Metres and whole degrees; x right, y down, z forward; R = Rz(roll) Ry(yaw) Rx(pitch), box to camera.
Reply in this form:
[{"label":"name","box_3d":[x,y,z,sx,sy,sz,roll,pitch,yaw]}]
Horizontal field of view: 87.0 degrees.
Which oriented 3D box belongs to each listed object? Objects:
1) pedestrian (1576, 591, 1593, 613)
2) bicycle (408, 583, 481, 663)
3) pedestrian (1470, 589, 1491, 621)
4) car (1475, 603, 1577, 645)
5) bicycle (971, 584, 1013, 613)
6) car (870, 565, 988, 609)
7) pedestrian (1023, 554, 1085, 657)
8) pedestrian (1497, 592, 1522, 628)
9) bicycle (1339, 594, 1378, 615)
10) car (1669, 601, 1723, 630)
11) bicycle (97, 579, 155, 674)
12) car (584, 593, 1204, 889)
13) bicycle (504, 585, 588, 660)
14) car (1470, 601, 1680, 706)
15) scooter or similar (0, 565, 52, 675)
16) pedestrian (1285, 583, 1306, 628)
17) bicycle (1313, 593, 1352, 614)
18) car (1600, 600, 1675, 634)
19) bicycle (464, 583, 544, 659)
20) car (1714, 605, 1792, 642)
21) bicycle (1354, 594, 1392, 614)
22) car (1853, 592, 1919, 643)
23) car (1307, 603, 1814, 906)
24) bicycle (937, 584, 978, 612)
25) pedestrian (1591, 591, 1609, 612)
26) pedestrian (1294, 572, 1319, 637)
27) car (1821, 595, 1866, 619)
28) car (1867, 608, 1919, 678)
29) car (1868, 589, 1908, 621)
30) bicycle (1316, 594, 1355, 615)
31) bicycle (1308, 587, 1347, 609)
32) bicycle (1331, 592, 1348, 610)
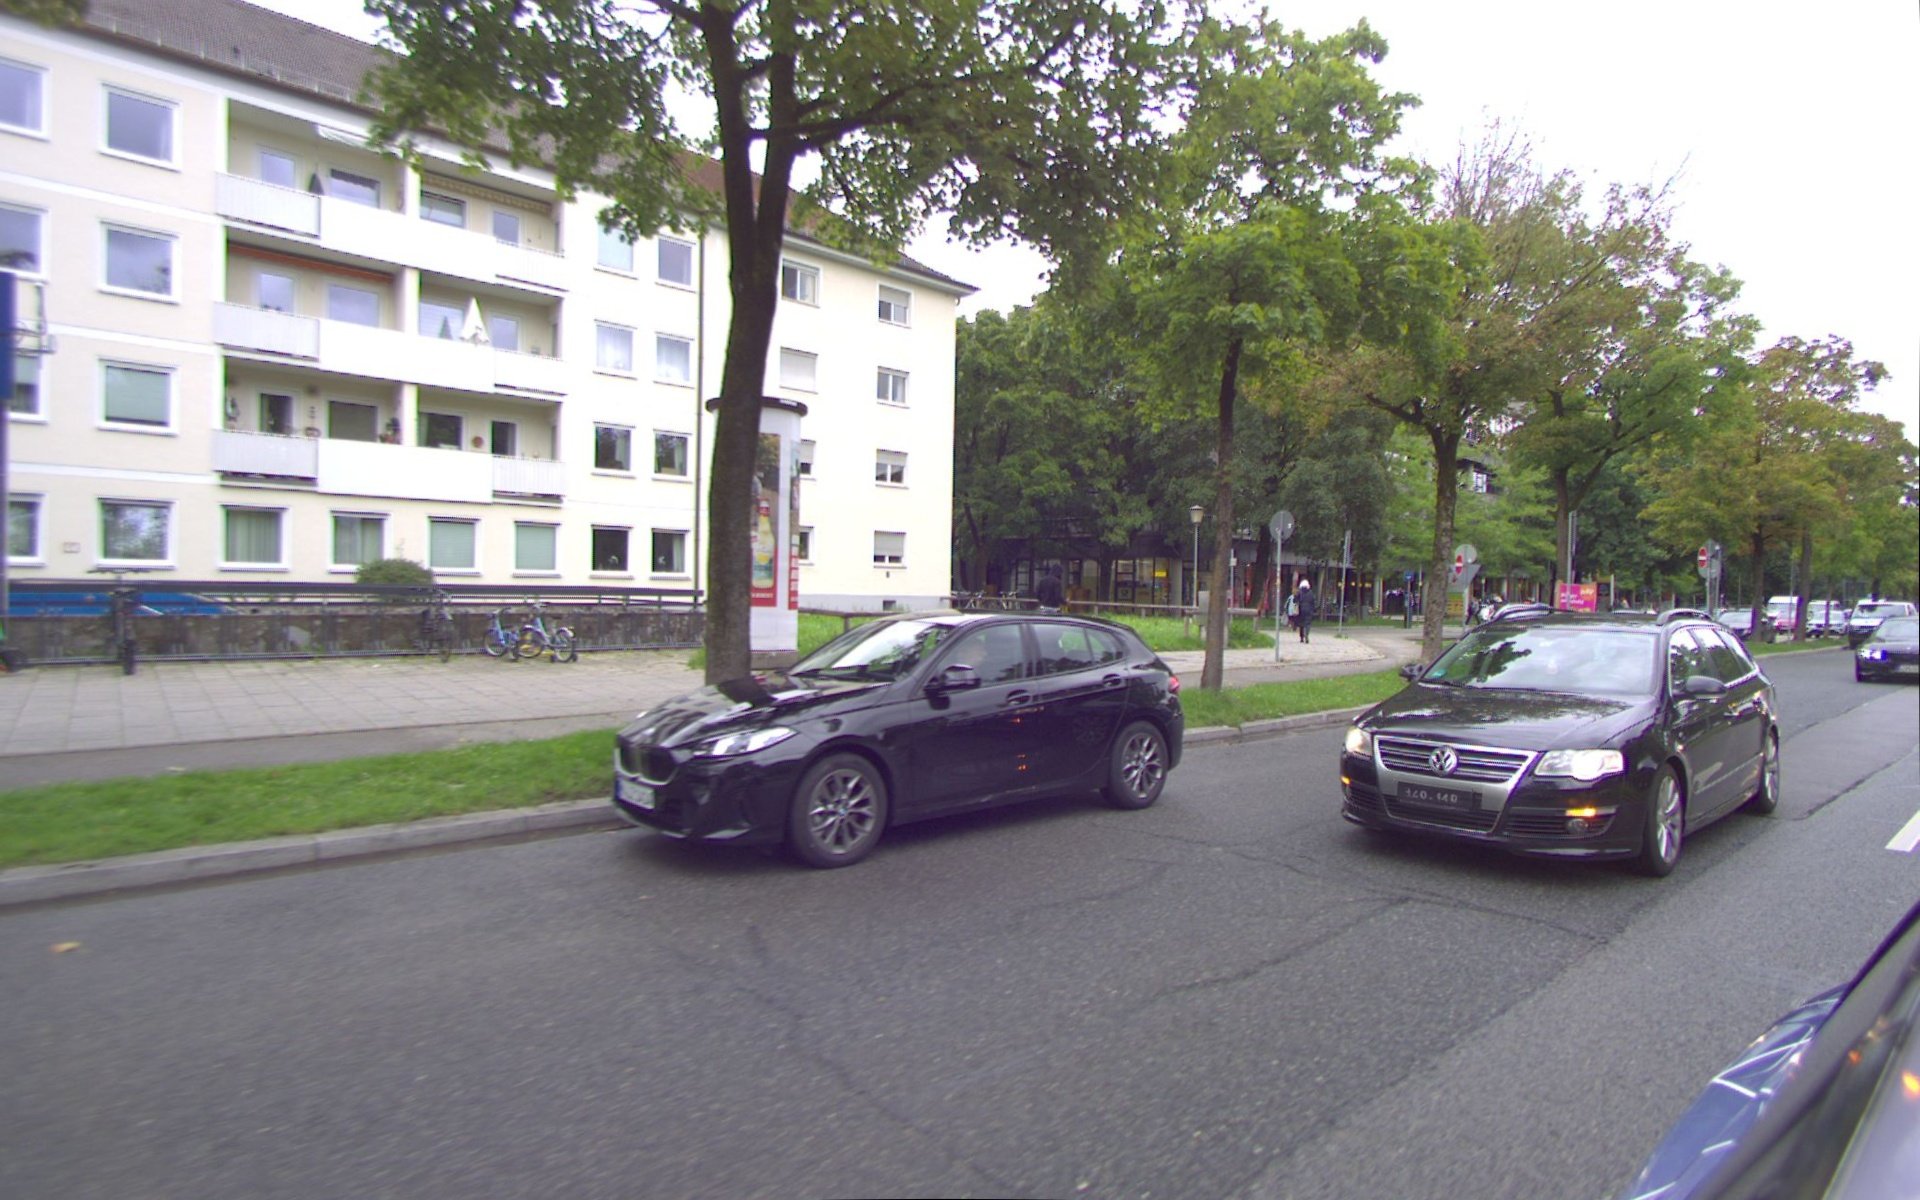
[{"label":"pedestrian","box_3d":[49.812,0.146,80.746,0.856,1.719,0.772,0,2,-26]},{"label":"bicycle","box_3d":[-7.537,0.304,14.762,0.425,1.041,1.880,0,2,-43]},{"label":"pedestrian","box_3d":[26.397,0.268,51.333,0.618,1.561,0.662,2,2,-16]},{"label":"car","box_3d":[20.071,0.801,35.846,4.273,1.397,1.725,0,0,-39]},{"label":"bicycle","box_3d":[1.142,-0.065,36.410,0.448,0.983,1.693,1,1,-44]},{"label":"car","box_3d":[-1.671,-0.722,53.297,6.074,2.078,2.315,3,1,36]},{"label":"pedestrian","box_3d":[1.684,0.089,18.104,0.835,1.771,0.640,1,2,-43]},{"label":"pedestrian","box_3d":[25.099,0.448,46.260,0.738,1.614,0.660,1,0,-22]},{"label":"bicycle","box_3d":[22.800,0.239,57.932,0.447,1.134,2.079,1,1,-40]},{"label":"car","box_3d":[42.807,0.931,58.807,1.823,1.550,4.527,3,1,45]},{"label":"bicycle","box_3d":[-10.244,0.290,12.405,0.425,1.041,1.880,0,2,-43]},{"label":"car","box_3d":[-0.259,0.722,7.079,4.101,1.484,1.754,1,-1,-40]},{"label":"bicycle","box_3d":[-6.392,0.323,15.573,1.876,1.041,0.426,3,2,42]},{"label":"car","box_3d":[9.925,0.768,16.223,4.041,1.484,1.685,1,-1,-40]},{"label":"scooter or similar","box_3d":[-10.866,0.227,11.156,0.352,1.215,1.388,2,1,7]},{"label":"pedestrian","box_3d":[11.924,0.185,36.003,0.571,1.594,0.779,0,0,9]},{"label":"bicycle","box_3d":[20.924,0.187,56.916,0.447,1.134,2.079,1,1,-40]},{"label":"car","box_3d":[33.746,0.820,50.362,4.519,1.550,1.826,1,1,-39]},{"label":"bicycle","box_3d":[-6.954,0.297,15.388,1.878,1.041,0.426,3,2,44]},{"label":"car","box_3d":[33.002,0.920,42.089,4.609,1.450,1.730,0,0,-41]},{"label":"bicycle","box_3d":[24.313,0.222,59.643,0.447,1.134,2.079,1,1,-40]},{"label":"car","box_3d":[38.157,0.703,41.339,4.847,1.952,1.884,1,-1,-41]},{"label":"car","box_3d":[4.318,0.757,6.957,4.364,1.451,1.734,1,-1,-41]},{"label":"bicycle","box_3d":[-0.110,-0.085,37.681,0.448,0.983,1.693,1,1,-44]},{"label":"pedestrian","box_3d":[51.916,0.111,82.091,0.755,1.719,0.875,0,2,-26]},{"label":"pedestrian","box_3d":[9.436,0.126,27.537,0.633,1.752,0.597,0,0,19]},{"label":"car","box_3d":[79.628,0.626,91.188,5.755,2.130,2.267,1,1,-41]},{"label":"car","box_3d":[21.292,0.901,22.104,4.385,1.431,1.761,1,-1,-42]},{"label":"car","box_3d":[81.273,0.435,88.633,5.901,2.691,1.976,1,-1,-41]},{"label":"bicycle","box_3d":[21.403,0.259,57.700,0.447,1.134,2.079,1,1,-40]},{"label":"bicycle","box_3d":[20.405,-0.110,56.270,0.447,1.134,2.079,1,1,-40]},{"label":"bicycle","box_3d":[24.218,0.067,64.573,0.454,1.134,1.529,1,1,45]}]
